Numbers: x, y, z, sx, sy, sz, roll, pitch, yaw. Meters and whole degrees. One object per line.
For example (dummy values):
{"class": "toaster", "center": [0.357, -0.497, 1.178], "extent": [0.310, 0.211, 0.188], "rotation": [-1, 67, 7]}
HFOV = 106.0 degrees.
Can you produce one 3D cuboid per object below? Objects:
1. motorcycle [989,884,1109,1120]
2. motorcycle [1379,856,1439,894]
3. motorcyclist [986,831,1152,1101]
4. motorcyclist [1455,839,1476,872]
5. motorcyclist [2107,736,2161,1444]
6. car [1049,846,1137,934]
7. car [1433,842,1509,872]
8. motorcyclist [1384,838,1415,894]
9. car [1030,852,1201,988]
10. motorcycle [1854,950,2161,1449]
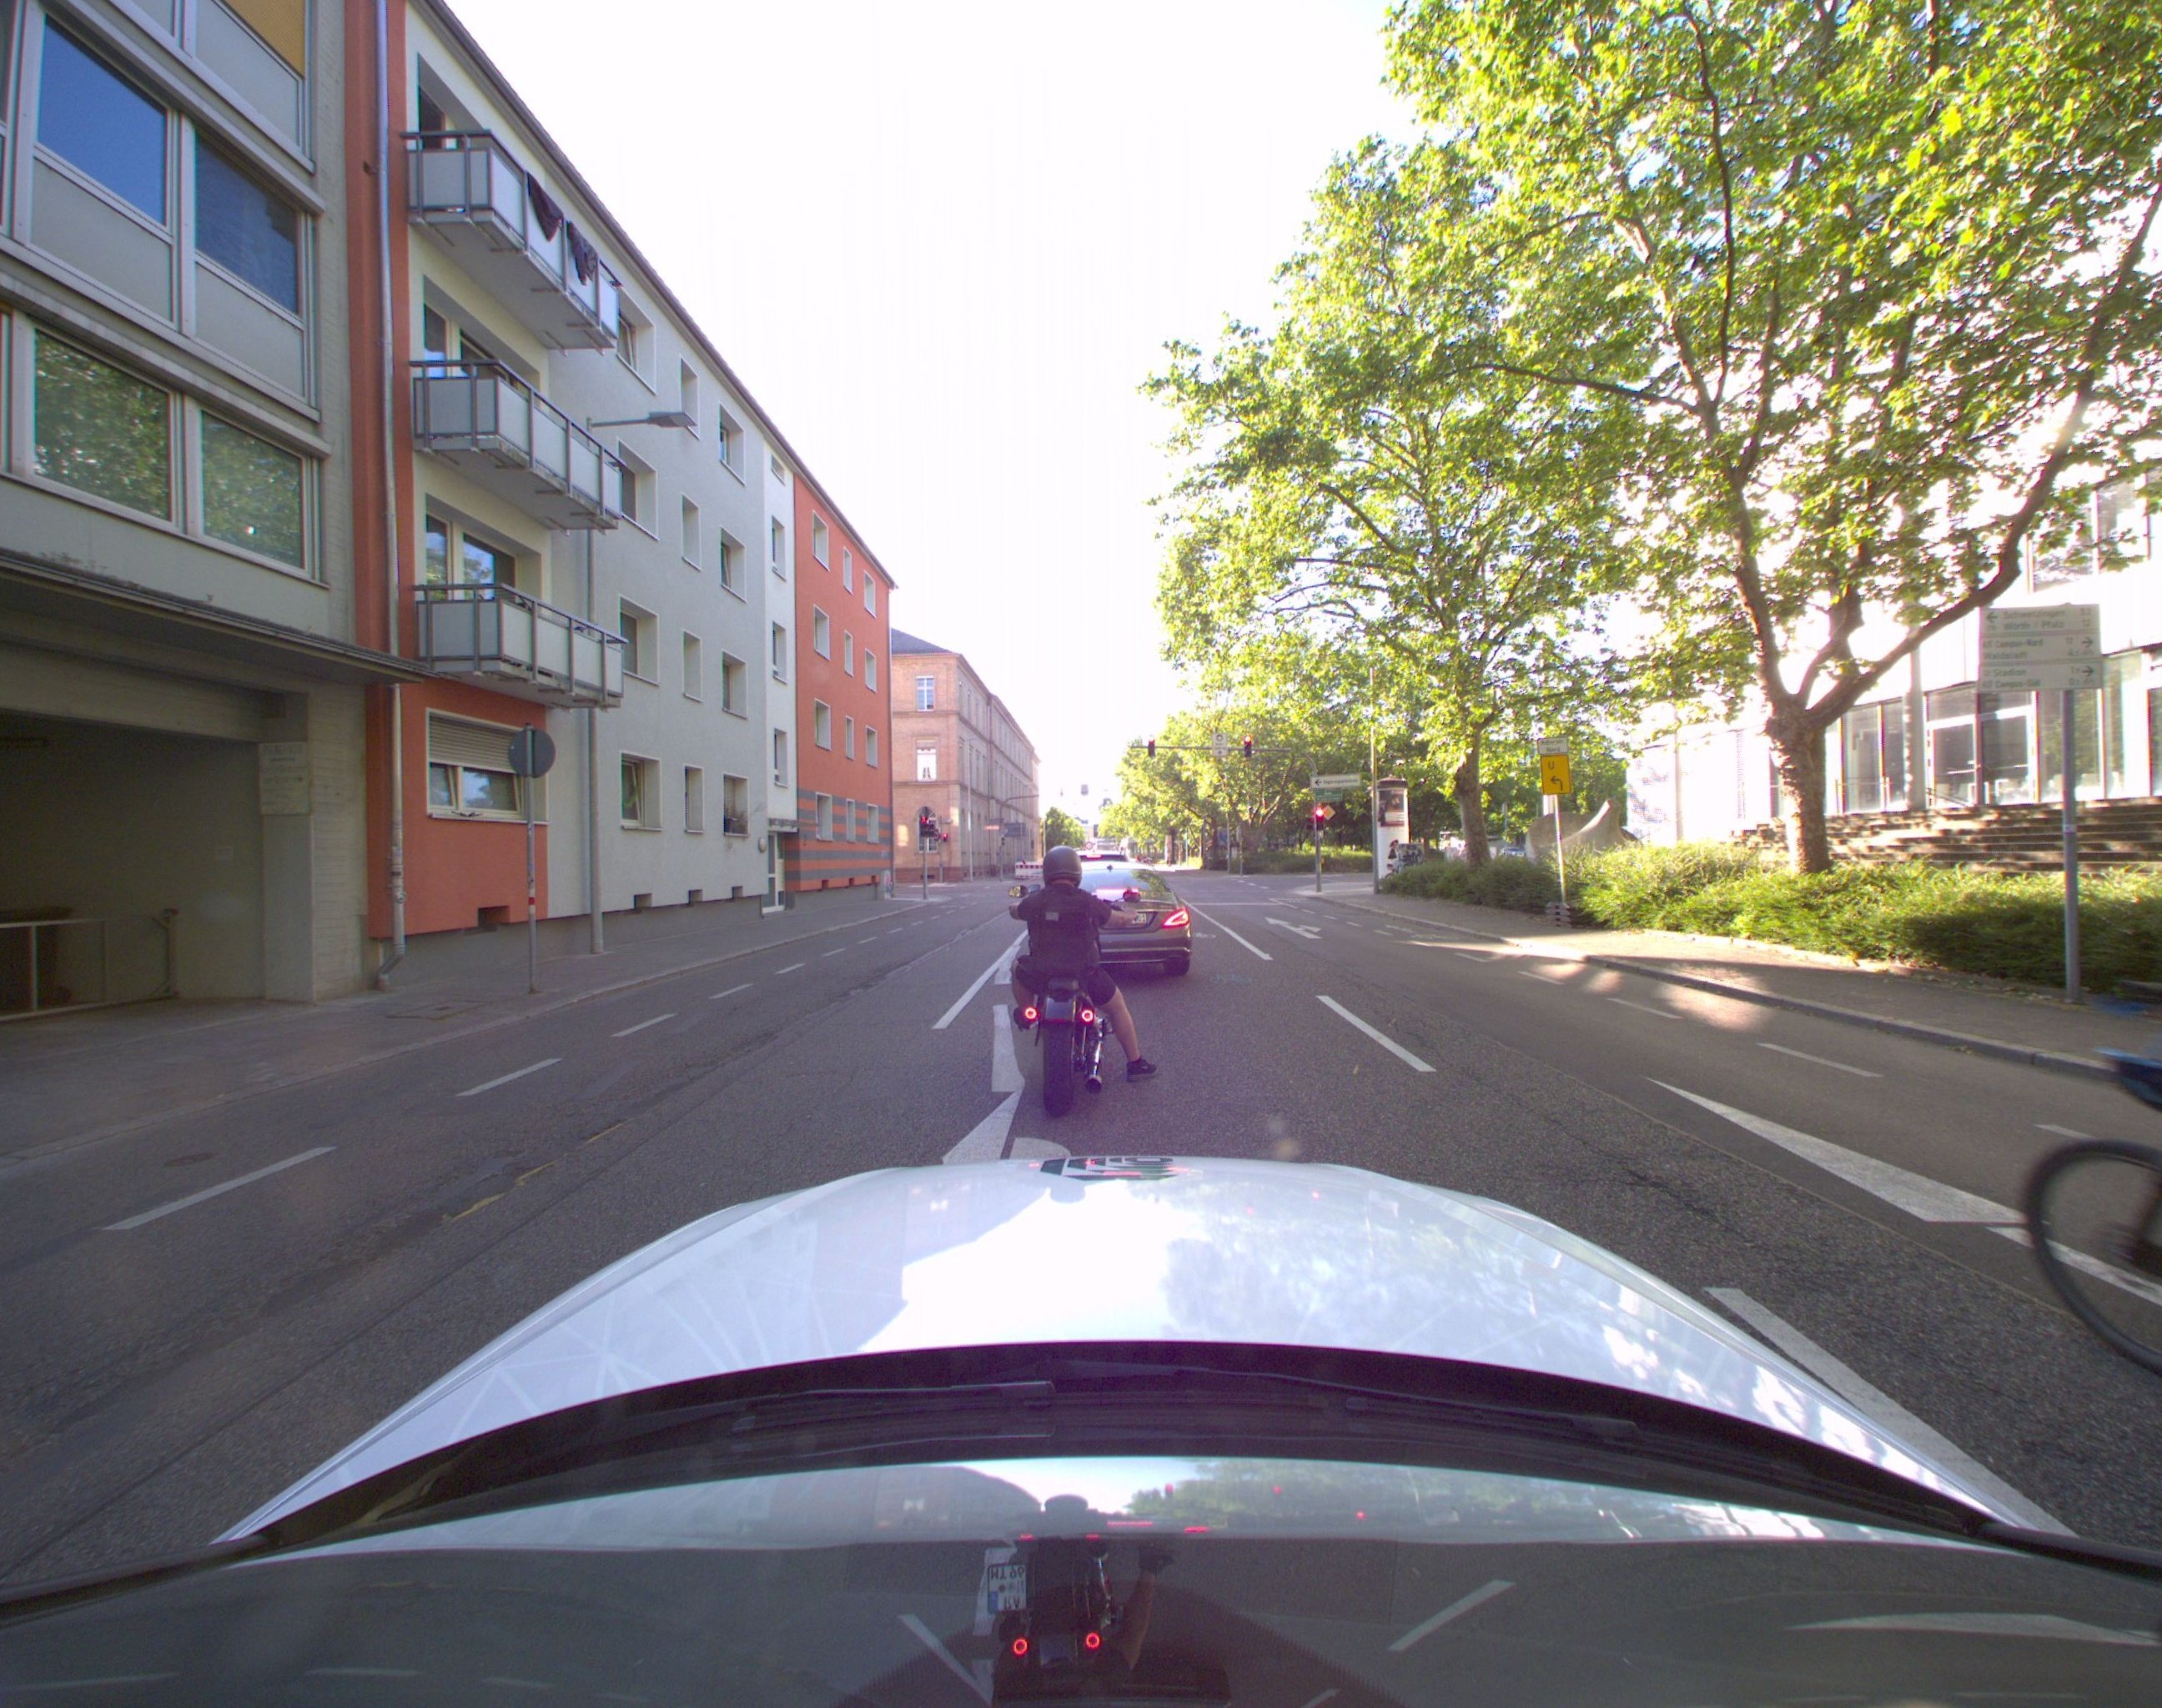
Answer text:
{"class": "motorcycle", "center": [-0.143, 0.857, 5.528], "extent": [0.657, 1.240, 2.058], "rotation": [0, -1, 2]}
{"class": "motorcycle", "center": [11.070, 0.713, 27.531], "extent": [1.771, 1.243, 0.724], "rotation": [0, -1, 7]}
{"class": "motorcyclist", "center": [-0.055, 0.673, 5.435], "extent": [0.986, 1.611, 1.121], "rotation": [0, -1, 1]}
{"class": "motorcyclist", "center": [22.348, 0.083, 47.375], "extent": [0.978, 1.876, 0.377], "rotation": [-1, -1, 6]}
{"class": "motorcyclist", "center": [3.007, 0.578, 1.716], "extent": [0.714, 1.743, 0.751], "rotation": [0, -1, 1]}
{"class": "car", "center": [0.293, 0.693, 17.302], "extent": [1.645, 1.652, 4.002], "rotation": [0, -1, 2]}
{"class": "car", "center": [24.629, 0.206, 51.510], "extent": [3.974, 1.772, 1.738], "rotation": [-1, 0, -1]}
{"class": "motorcyclist", "center": [10.767, 0.394, 27.555], "extent": [0.818, 1.863, 0.673], "rotation": [0, -1, 7]}
{"class": "car", "center": [0.260, 0.747, 11.231], "extent": [1.821, 1.486, 4.325], "rotation": [0, 0, -5]}
{"class": "motorcycle", "center": [3.037, 0.891, 1.686], "extent": [0.794, 1.131, 2.237], "rotation": [0, -1, 2]}
